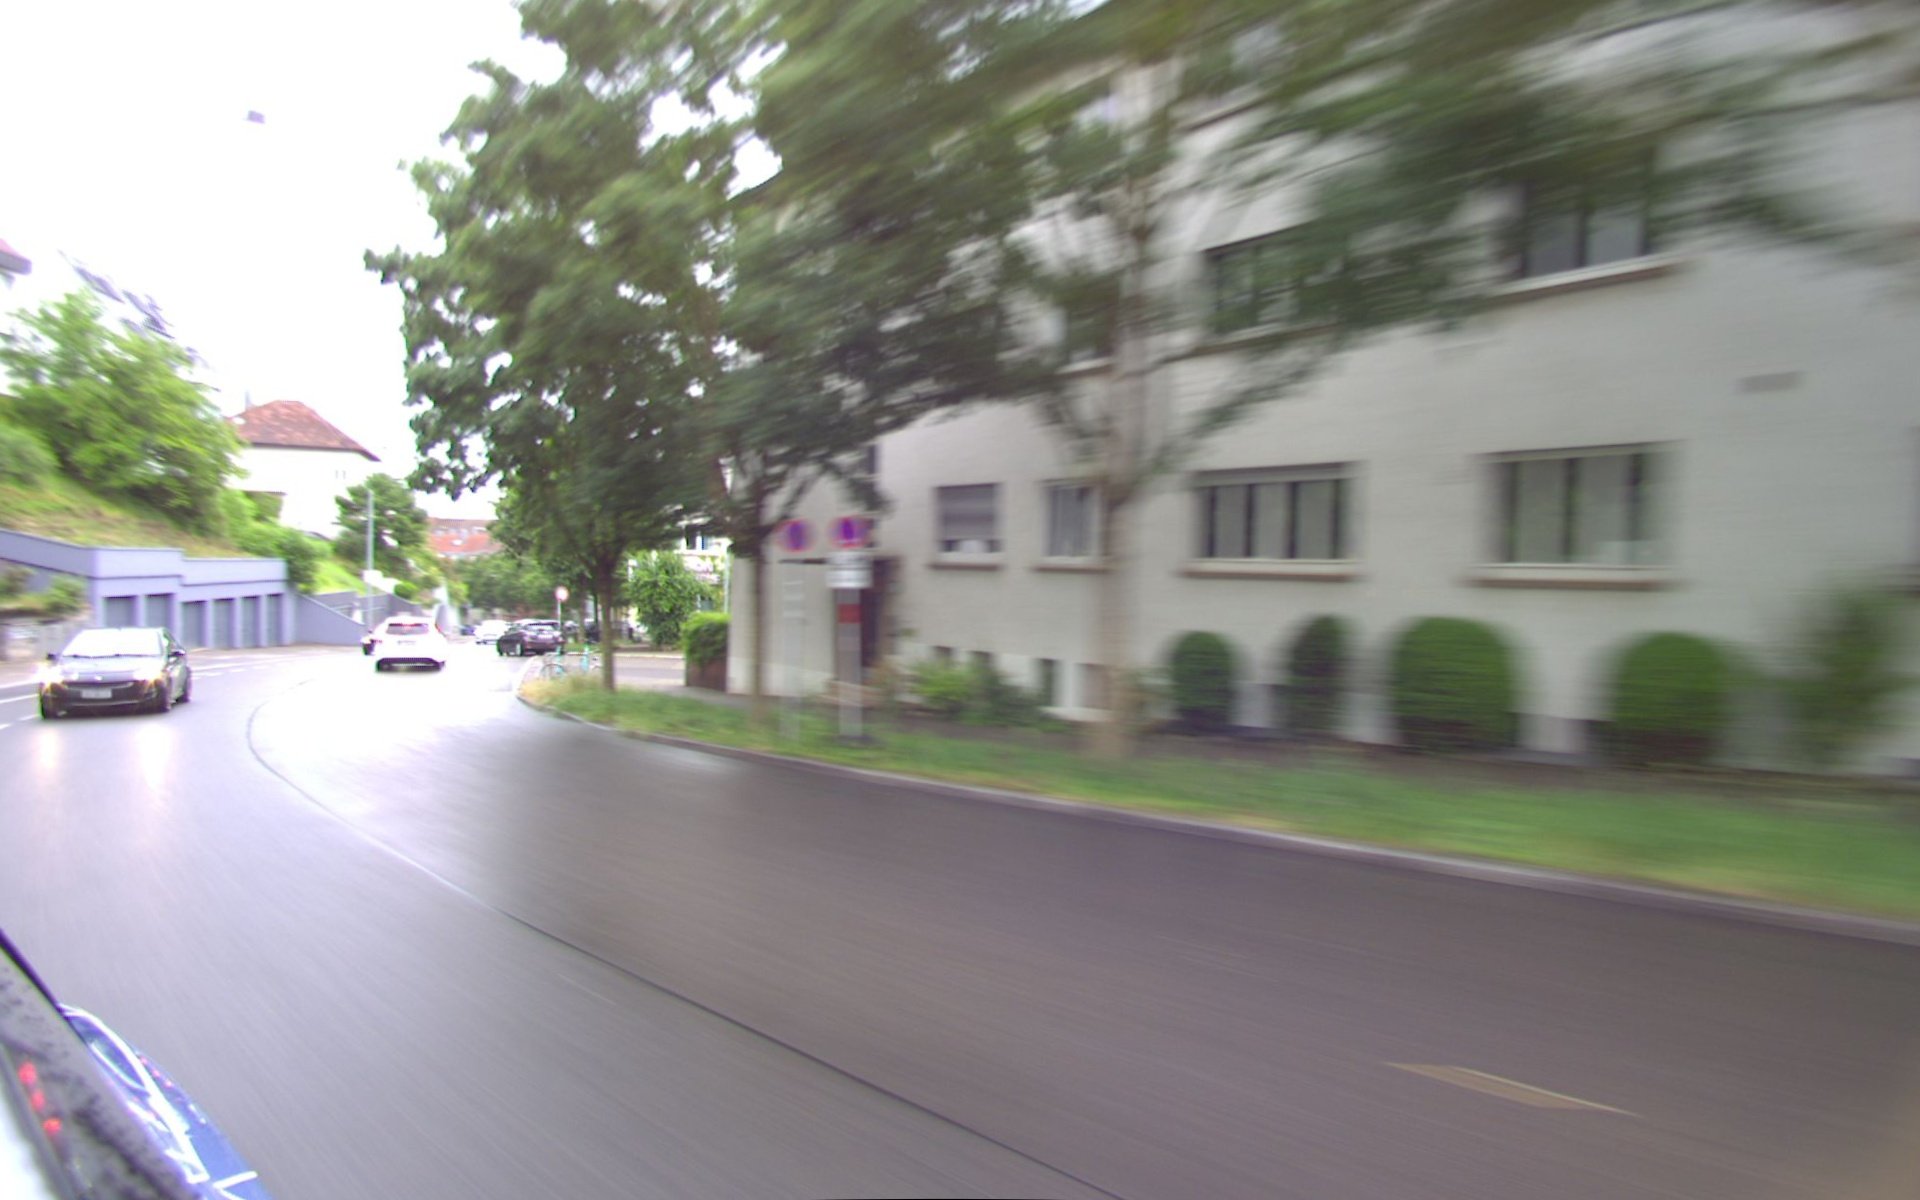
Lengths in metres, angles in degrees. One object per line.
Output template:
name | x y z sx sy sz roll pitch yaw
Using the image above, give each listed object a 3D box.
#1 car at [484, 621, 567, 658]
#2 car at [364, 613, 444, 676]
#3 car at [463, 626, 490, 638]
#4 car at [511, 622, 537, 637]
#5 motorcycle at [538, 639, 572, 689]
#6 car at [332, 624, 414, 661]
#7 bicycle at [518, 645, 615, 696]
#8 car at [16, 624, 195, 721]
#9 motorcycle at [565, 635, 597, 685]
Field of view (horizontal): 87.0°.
car | -18.187 1.610 42.264 1.969 1.401 4.203 0 -1 -42
car | -17.274 1.391 31.474 1.956 1.802 4.709 3 -3 -29
car | -66.187 4.345 138.512 4.361 1.504 1.768 -2 -1 43
car | -53.163 3.622 123.269 1.830 1.790 4.492 -1 -1 -37
motorcycle | -10.200 1.596 25.510 0.549 1.213 1.402 0 -1 -11
car | -25.846 1.837 44.720 1.967 1.522 4.221 -1 -1 -13
bicycle | -8.929 1.579 23.003 1.938 1.068 0.755 1 -2 -40
car | -14.767 1.164 17.718 1.670 1.475 4.012 0 -1 -30
motorcycle | -9.722 1.532 25.985 0.545 1.237 1.308 0 -1 -11
